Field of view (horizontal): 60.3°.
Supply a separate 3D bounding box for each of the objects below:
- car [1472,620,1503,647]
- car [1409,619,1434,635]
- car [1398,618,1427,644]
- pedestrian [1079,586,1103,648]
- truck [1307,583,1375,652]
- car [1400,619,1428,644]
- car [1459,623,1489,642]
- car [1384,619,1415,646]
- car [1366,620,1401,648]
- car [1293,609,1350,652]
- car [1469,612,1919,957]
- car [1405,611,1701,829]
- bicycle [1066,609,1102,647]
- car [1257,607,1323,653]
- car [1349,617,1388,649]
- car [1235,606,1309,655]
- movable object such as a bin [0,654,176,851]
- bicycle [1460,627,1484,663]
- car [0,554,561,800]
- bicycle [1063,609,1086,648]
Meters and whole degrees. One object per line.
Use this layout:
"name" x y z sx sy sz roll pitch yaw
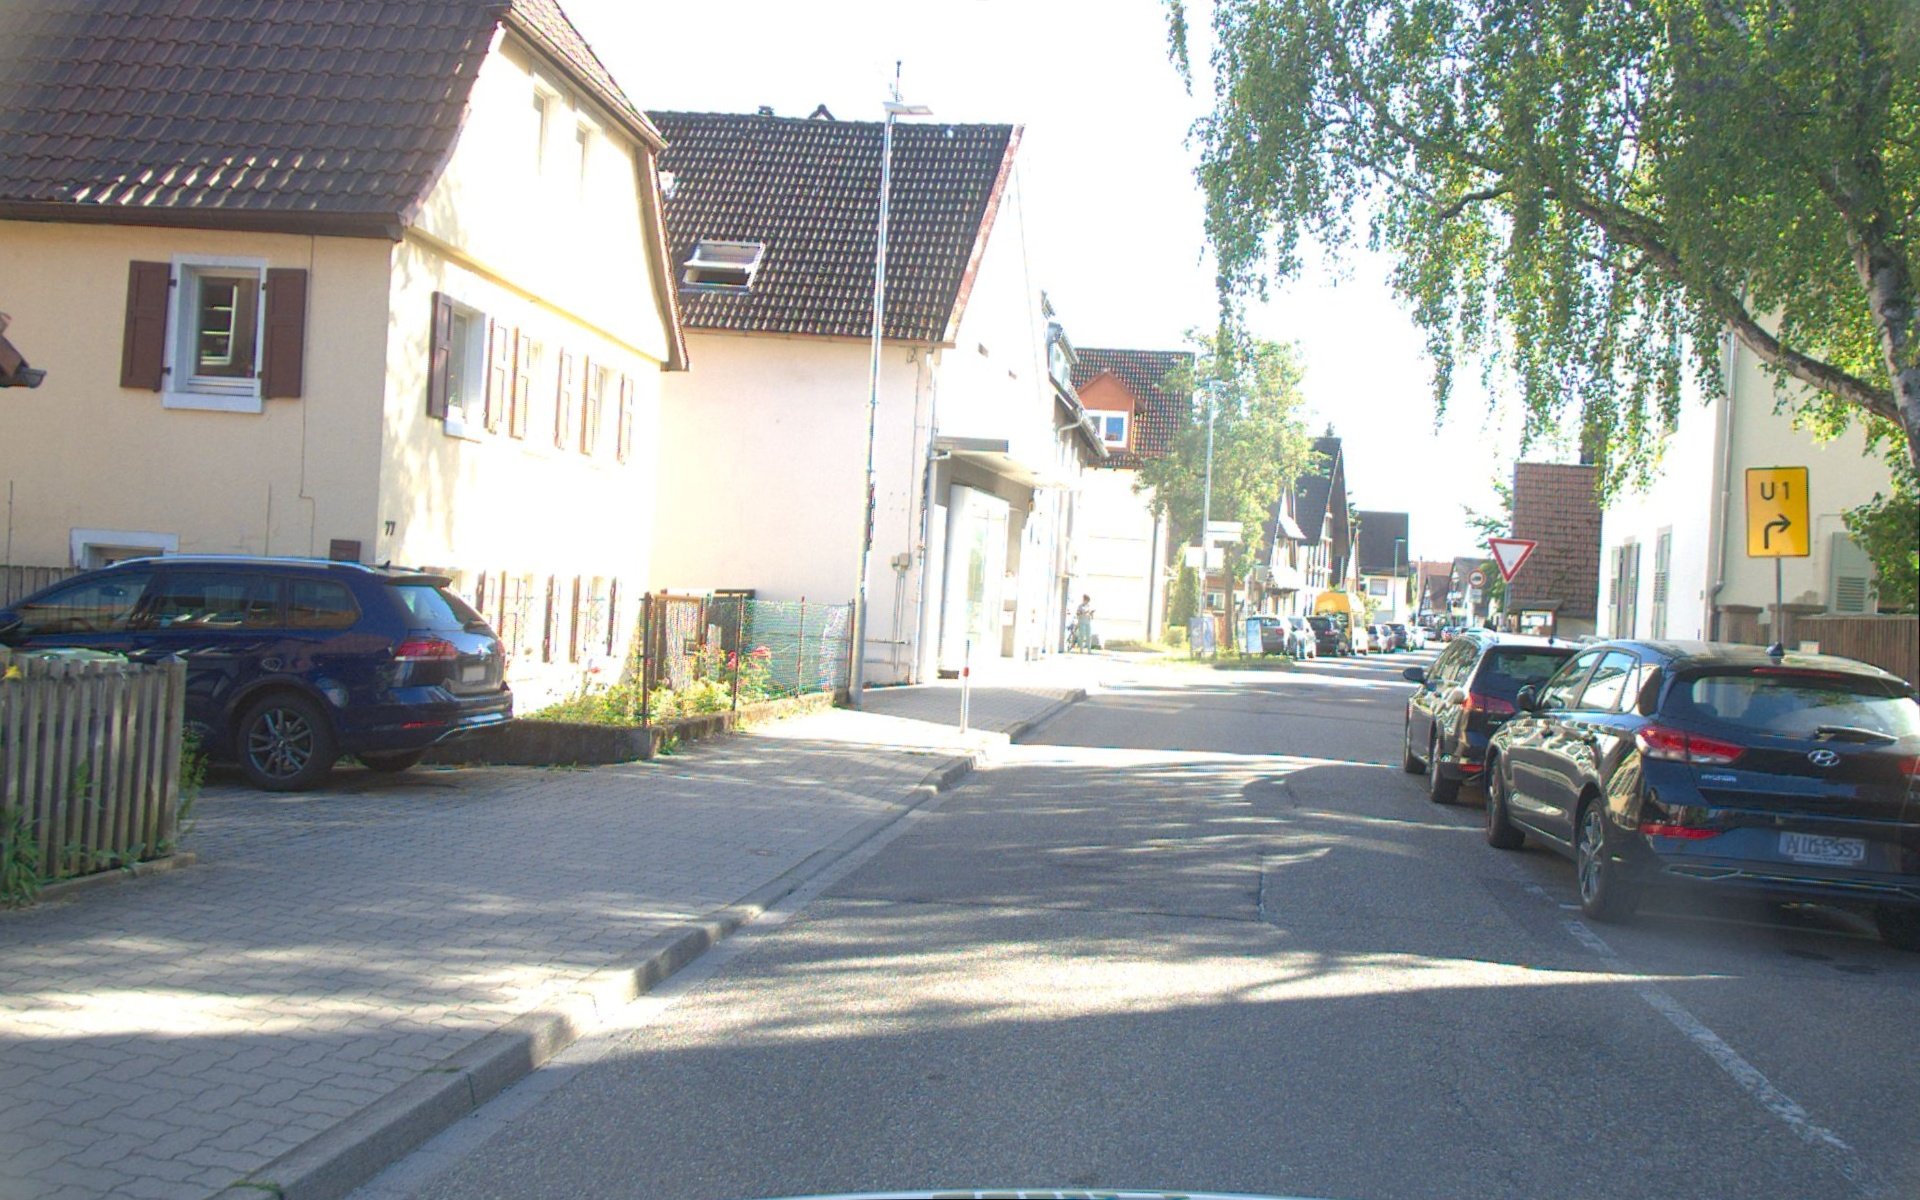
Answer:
"car" 37.537 2.384 117.663 1.932 1.743 3.997 4 0 17
"car" 51.570 3.002 185.017 1.932 1.610 3.997 4 0 6
"car" 28.106 1.942 102.722 1.555 1.467 3.616 4 0 17
"pedestrian" 3.697 0.487 46.785 0.473 1.722 0.557 4 -2 15
"truck" 17.367 0.829 75.166 2.221 2.918 5.783 3 0 20
"car" 29.450 2.036 107.176 1.555 1.467 3.616 4 0 17
"car" 49.318 3.112 158.783 1.932 1.610 3.997 4 0 6
"car" 25.499 1.875 95.923 1.555 1.467 3.616 4 0 17
"car" 22.485 1.789 87.811 1.555 1.359 3.616 4 0 17
"car" 15.307 1.295 69.941 1.769 1.650 3.881 3 0 20
"car" 4.355 0.887 9.849 1.769 1.461 4.289 4 1 7
"car" 5.002 0.900 14.521 1.769 1.461 4.289 4 1 11
"bicycle" 3.754 0.866 50.091 0.566 1.070 2.036 3 -1 18
"car" 12.316 1.140 61.521 1.769 1.532 4.108 3 0 20
"car" 20.655 1.664 83.539 1.611 1.457 3.616 4 0 17
"car" 10.855 1.060 57.379 1.829 1.532 4.108 3 0 20
"movable object such as a bin" -4.369 0.742 8.301 0.573 0.913 0.554 0 0 30
"bicycle" 17.671 1.556 57.060 0.425 1.197 1.826 3 0 27
"car" -5.047 0.460 11.368 4.070 1.487 1.849 1 0 5
"bicycle" 3.242 0.814 46.707 0.414 1.070 1.382 3 -1 12
